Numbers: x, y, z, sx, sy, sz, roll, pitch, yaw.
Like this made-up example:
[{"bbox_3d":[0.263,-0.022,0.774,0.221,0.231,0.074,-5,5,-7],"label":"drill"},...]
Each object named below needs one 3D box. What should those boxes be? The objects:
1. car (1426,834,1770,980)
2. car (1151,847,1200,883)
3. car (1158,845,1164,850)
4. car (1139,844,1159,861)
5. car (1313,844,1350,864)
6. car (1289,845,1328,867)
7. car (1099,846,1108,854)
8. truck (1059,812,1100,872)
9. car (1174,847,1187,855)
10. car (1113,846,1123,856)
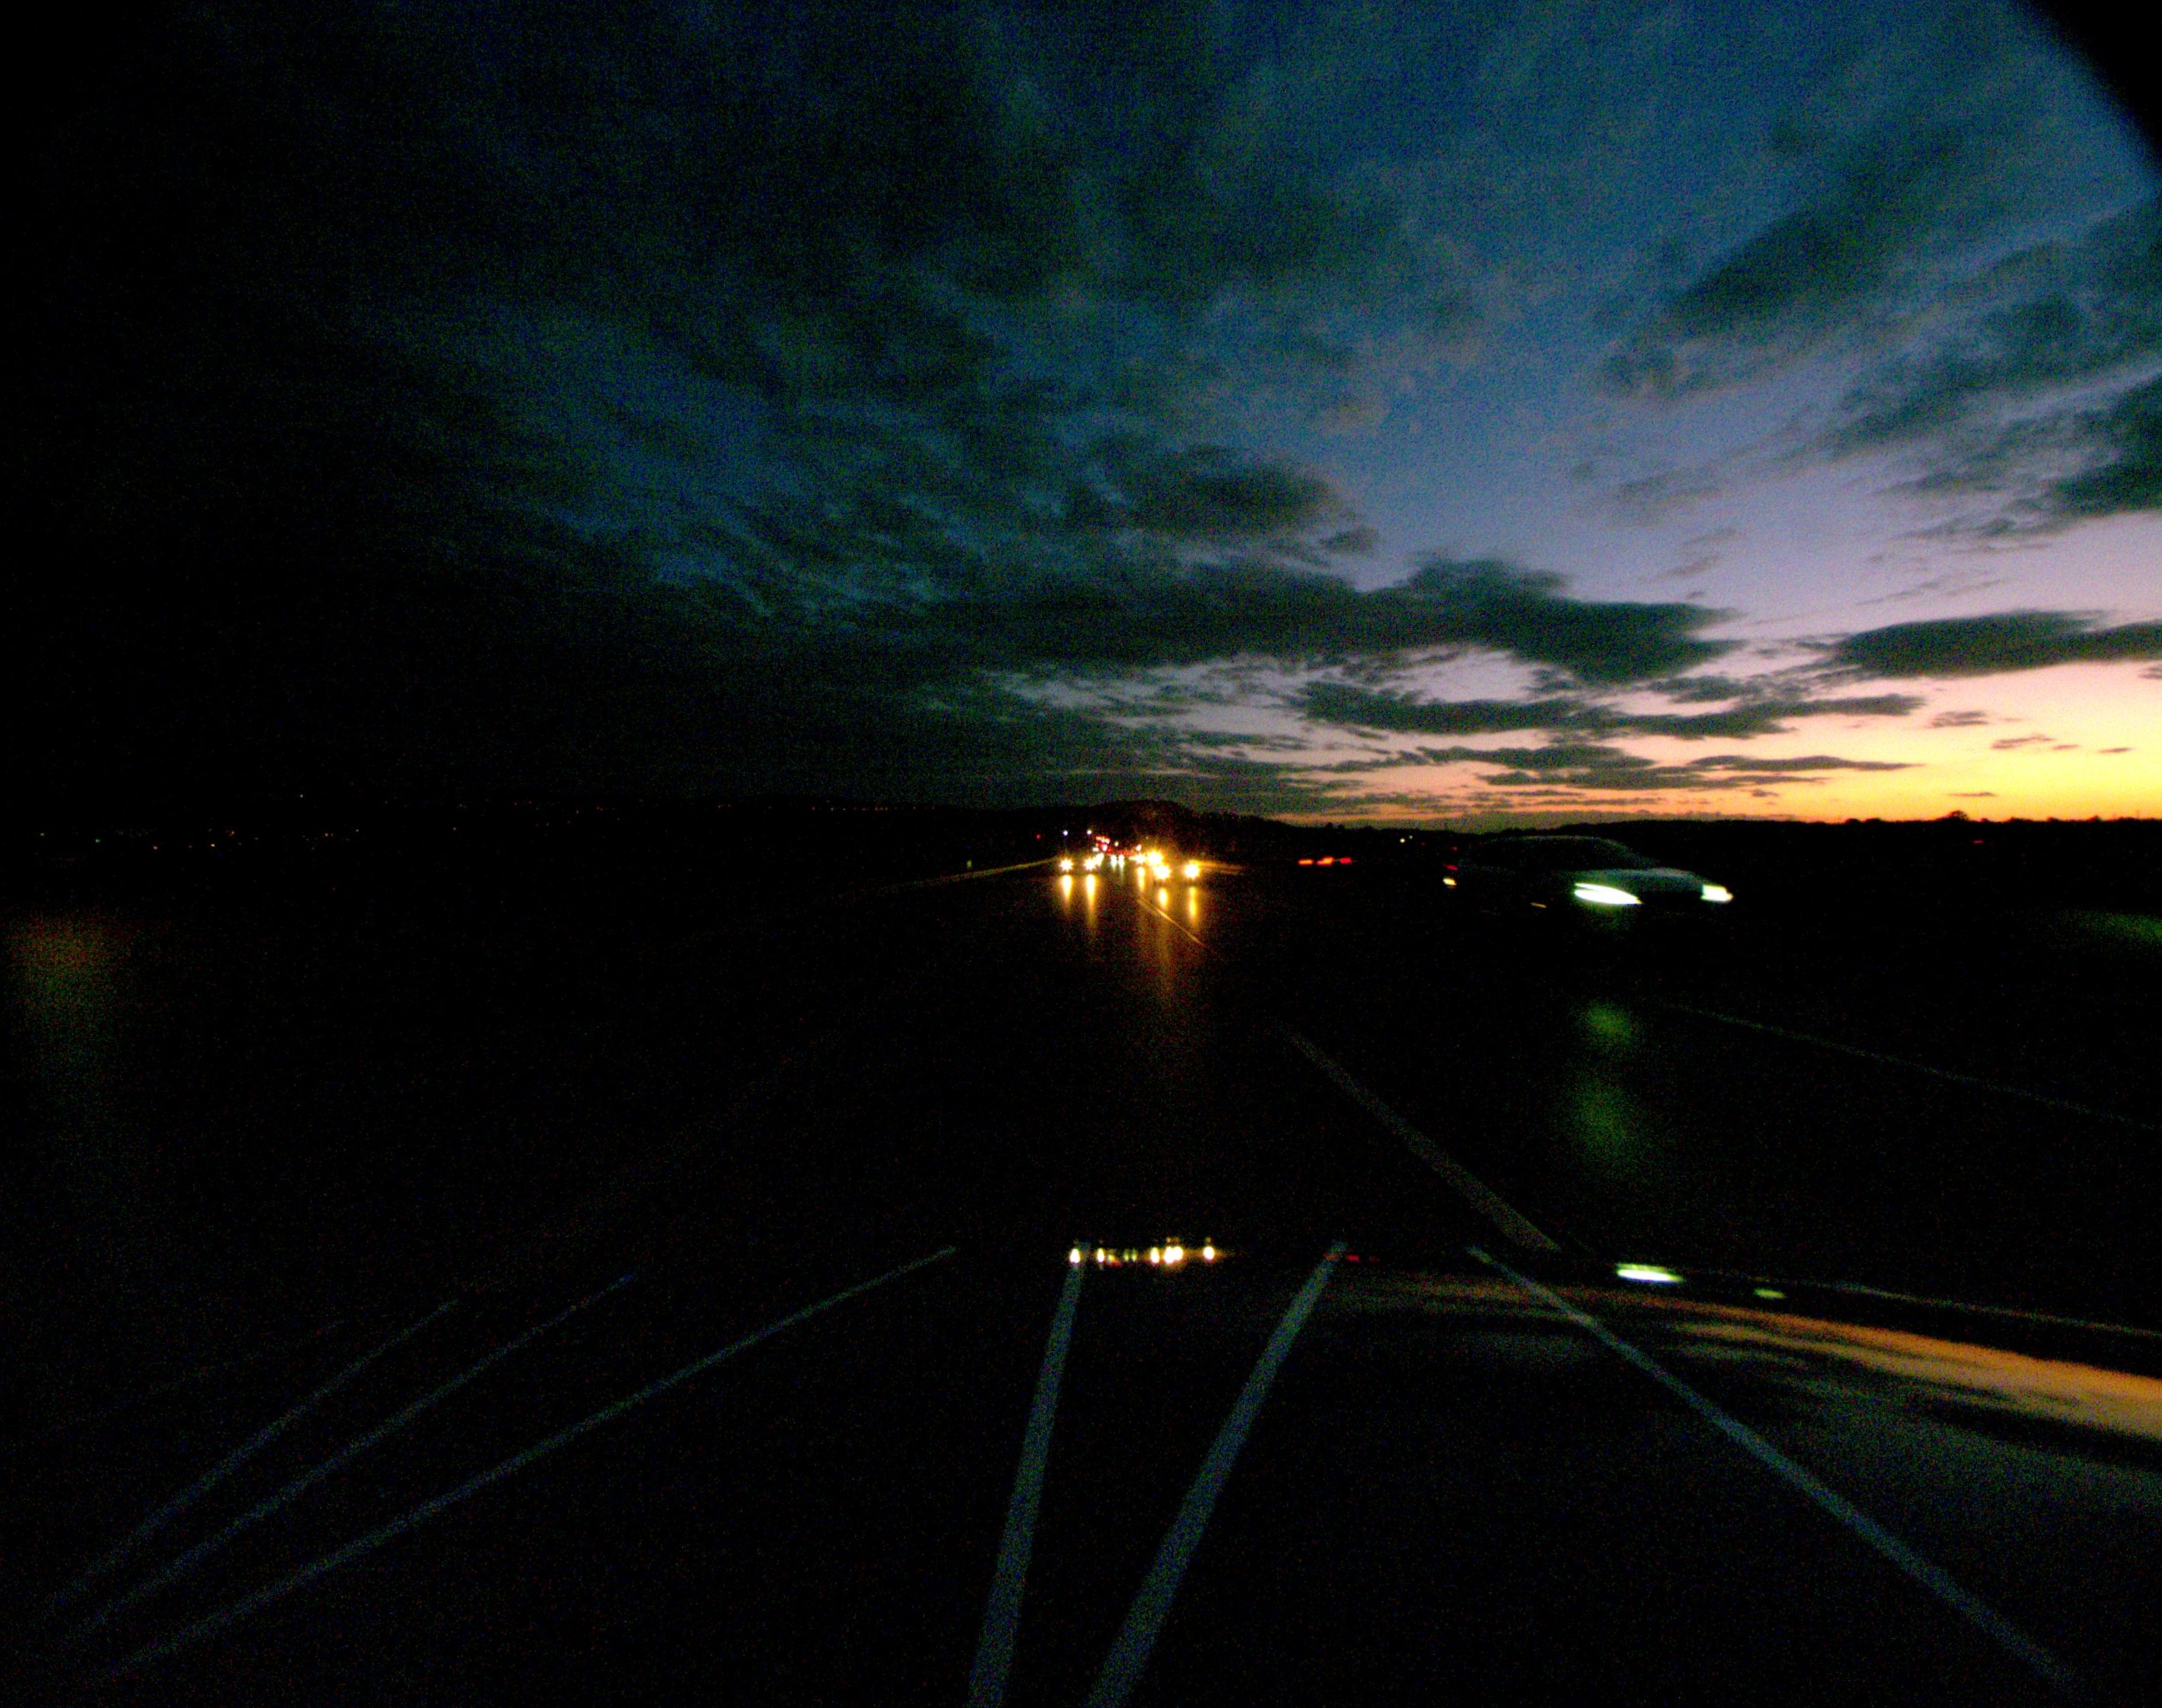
[{"bbox_3d":[7.147,0.576,11.309,1.819,1.638,4.855,-2,1,0],"label":"car"},{"bbox_3d":[4.458,0.481,36.285,1.802,1.531,4.158,-2,1,1],"label":"car"},{"bbox_3d":[25.793,-2.170,245.404,1.662,1.526,4.519,-2,1,0],"label":"car"},{"bbox_3d":[7.810,-0.175,87.550,1.862,1.826,3.999,-2,1,1],"label":"car"},{"bbox_3d":[24.348,-0.030,74.132,1.998,1.836,4.956,-2,1,1],"label":"car"},{"bbox_3d":[16.179,0.122,54.116,1.608,1.379,3.901,-2,1,1],"label":"car"},{"bbox_3d":[5.485,-1.098,184.886,1.862,1.826,3.999,-2,1,1],"label":"car"},{"bbox_3d":[-0.057,-0.945,65.937,3.012,4.570,12.577,-2,0,1],"label":"truck"},{"bbox_3d":[18.694,-0.602,142.941,1.676,1.293,4.704,-2,1,1],"label":"car"},{"bbox_3d":[7.065,-0.630,145.597,1.862,1.826,3.999,-2,1,1],"label":"car"}]
